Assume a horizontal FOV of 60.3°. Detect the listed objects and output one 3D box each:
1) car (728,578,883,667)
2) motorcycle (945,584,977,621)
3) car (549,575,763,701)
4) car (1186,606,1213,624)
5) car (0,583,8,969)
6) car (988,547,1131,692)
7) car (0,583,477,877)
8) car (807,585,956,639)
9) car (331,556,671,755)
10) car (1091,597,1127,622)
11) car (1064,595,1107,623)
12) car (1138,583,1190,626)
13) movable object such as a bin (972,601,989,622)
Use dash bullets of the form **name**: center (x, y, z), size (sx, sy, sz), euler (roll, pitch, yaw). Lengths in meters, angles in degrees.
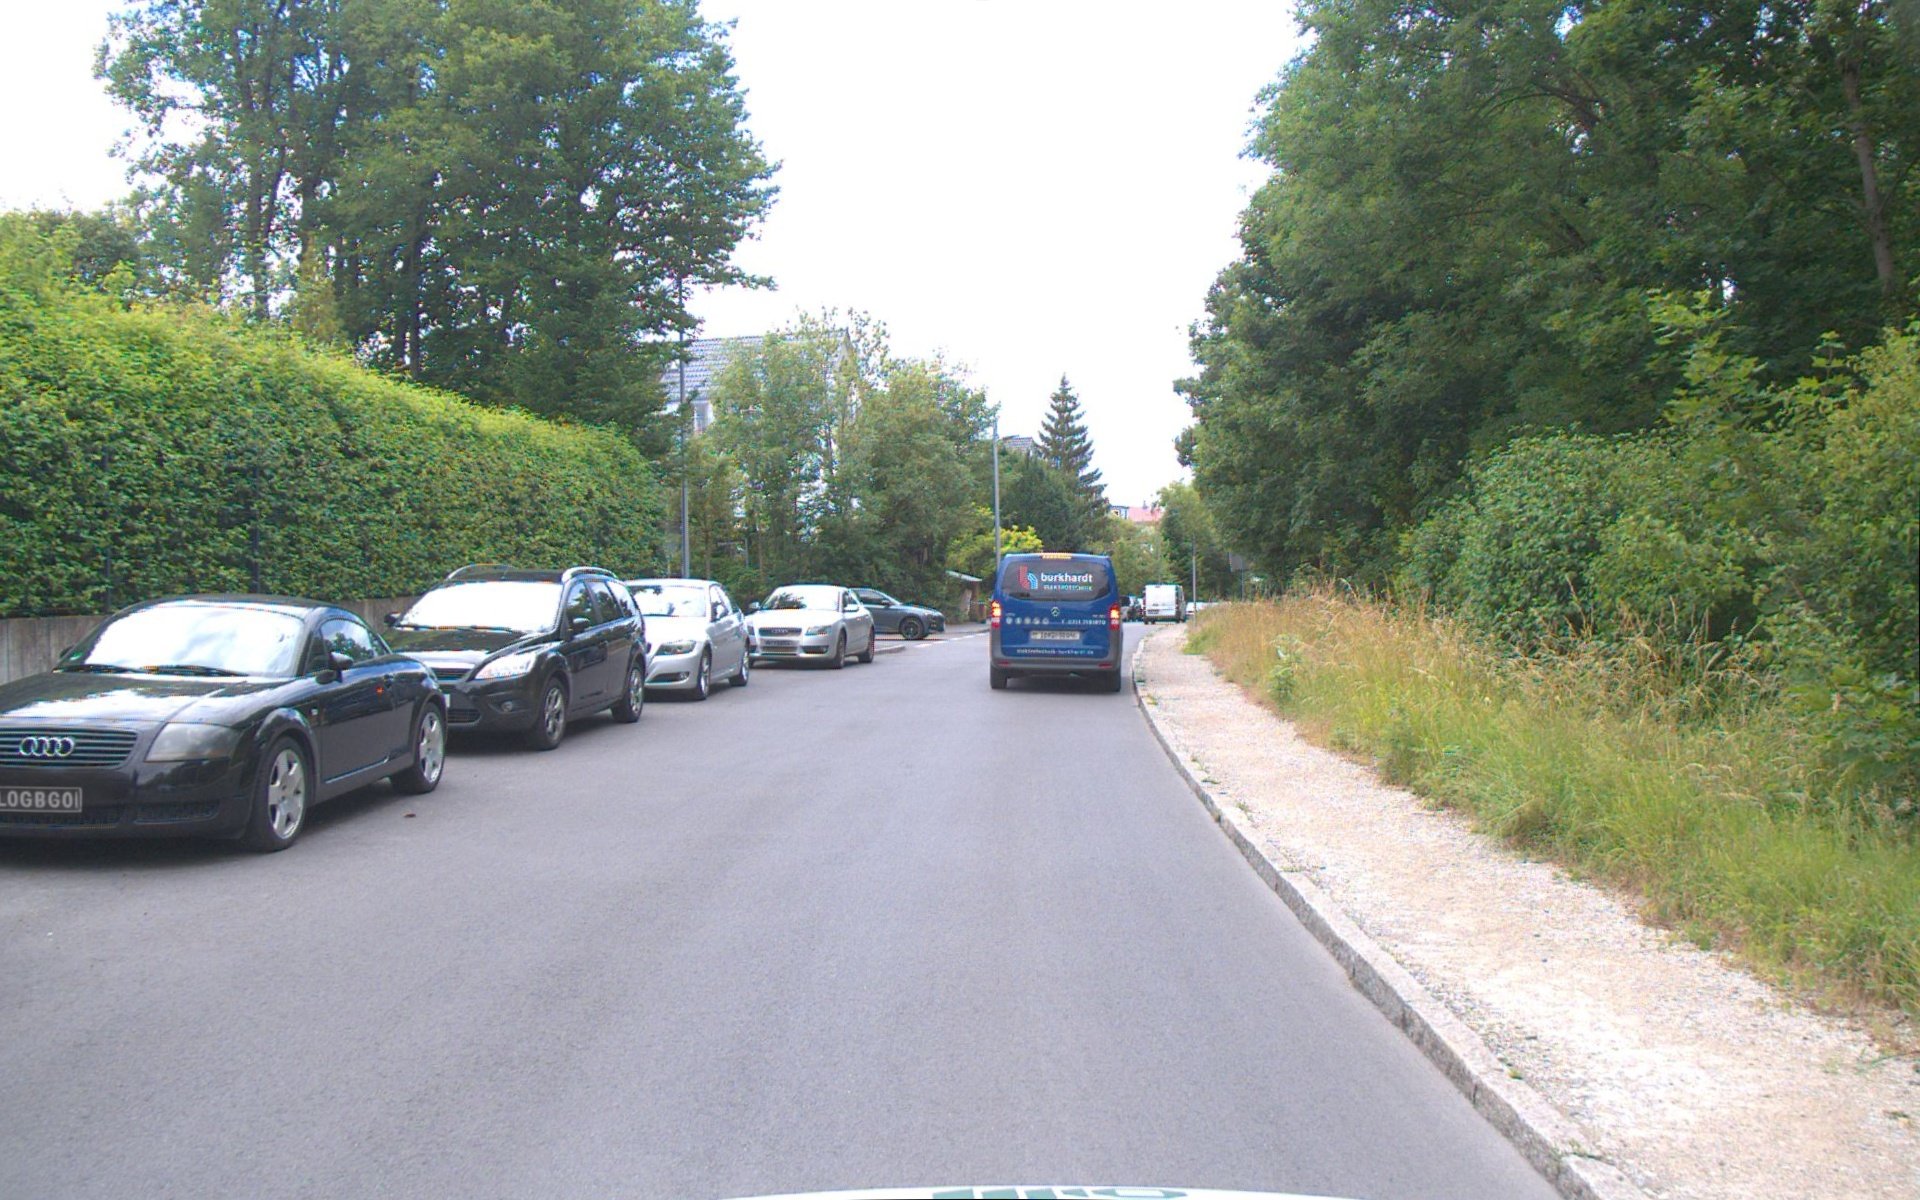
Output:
- **car**: center (-2.619, 0.347, 29.134), size (1.792, 1.398, 4.448), euler (1, 1, 7)
- **motorcycle**: center (0.051, 0.108, 70.489), size (0.792, 1.511, 2.898), euler (1, 0, 12)
- **car**: center (-3.717, 0.413, 20.980), size (1.738, 1.398, 4.342), euler (1, 1, 2)
- **car**: center (19.381, 1.221, 133.779), size (1.712, 1.429, 4.003), euler (1, 0, 15)
- **car**: center (-4.396, 0.657, 3.757), size (1.683, 1.409, 4.664), euler (0, 0, 1)
- **car**: center (1.517, 0.239, 24.401), size (1.895, 1.913, 4.533), euler (0, 0, 5)
- **car**: center (-4.346, 0.594, 9.863), size (1.676, 1.364, 4.108), euler (1, 0, 0)
- **car**: center (-2.206, 0.331, 47.289), size (4.079, 1.472, 1.741), euler (1, 0, 3)
- **car**: center (-4.077, 0.424, 15.496), size (1.621, 1.560, 4.477), euler (1, 0, 4)
- **car**: center (8.778, 0.568, 97.200), size (1.711, 1.429, 4.003), euler (1, 0, 11)
- **car**: center (6.618, 0.472, 87.022), size (1.600, 1.429, 4.003), euler (1, 0, 14)
- **car**: center (10.519, 0.213, 84.964), size (2.159, 2.100, 6.140), euler (0, 0, 12)
- **movable object such as a bin**: center (0.909, 0.495, 72.474), size (0.578, 0.925, 0.701), euler (1, 0, 16)
